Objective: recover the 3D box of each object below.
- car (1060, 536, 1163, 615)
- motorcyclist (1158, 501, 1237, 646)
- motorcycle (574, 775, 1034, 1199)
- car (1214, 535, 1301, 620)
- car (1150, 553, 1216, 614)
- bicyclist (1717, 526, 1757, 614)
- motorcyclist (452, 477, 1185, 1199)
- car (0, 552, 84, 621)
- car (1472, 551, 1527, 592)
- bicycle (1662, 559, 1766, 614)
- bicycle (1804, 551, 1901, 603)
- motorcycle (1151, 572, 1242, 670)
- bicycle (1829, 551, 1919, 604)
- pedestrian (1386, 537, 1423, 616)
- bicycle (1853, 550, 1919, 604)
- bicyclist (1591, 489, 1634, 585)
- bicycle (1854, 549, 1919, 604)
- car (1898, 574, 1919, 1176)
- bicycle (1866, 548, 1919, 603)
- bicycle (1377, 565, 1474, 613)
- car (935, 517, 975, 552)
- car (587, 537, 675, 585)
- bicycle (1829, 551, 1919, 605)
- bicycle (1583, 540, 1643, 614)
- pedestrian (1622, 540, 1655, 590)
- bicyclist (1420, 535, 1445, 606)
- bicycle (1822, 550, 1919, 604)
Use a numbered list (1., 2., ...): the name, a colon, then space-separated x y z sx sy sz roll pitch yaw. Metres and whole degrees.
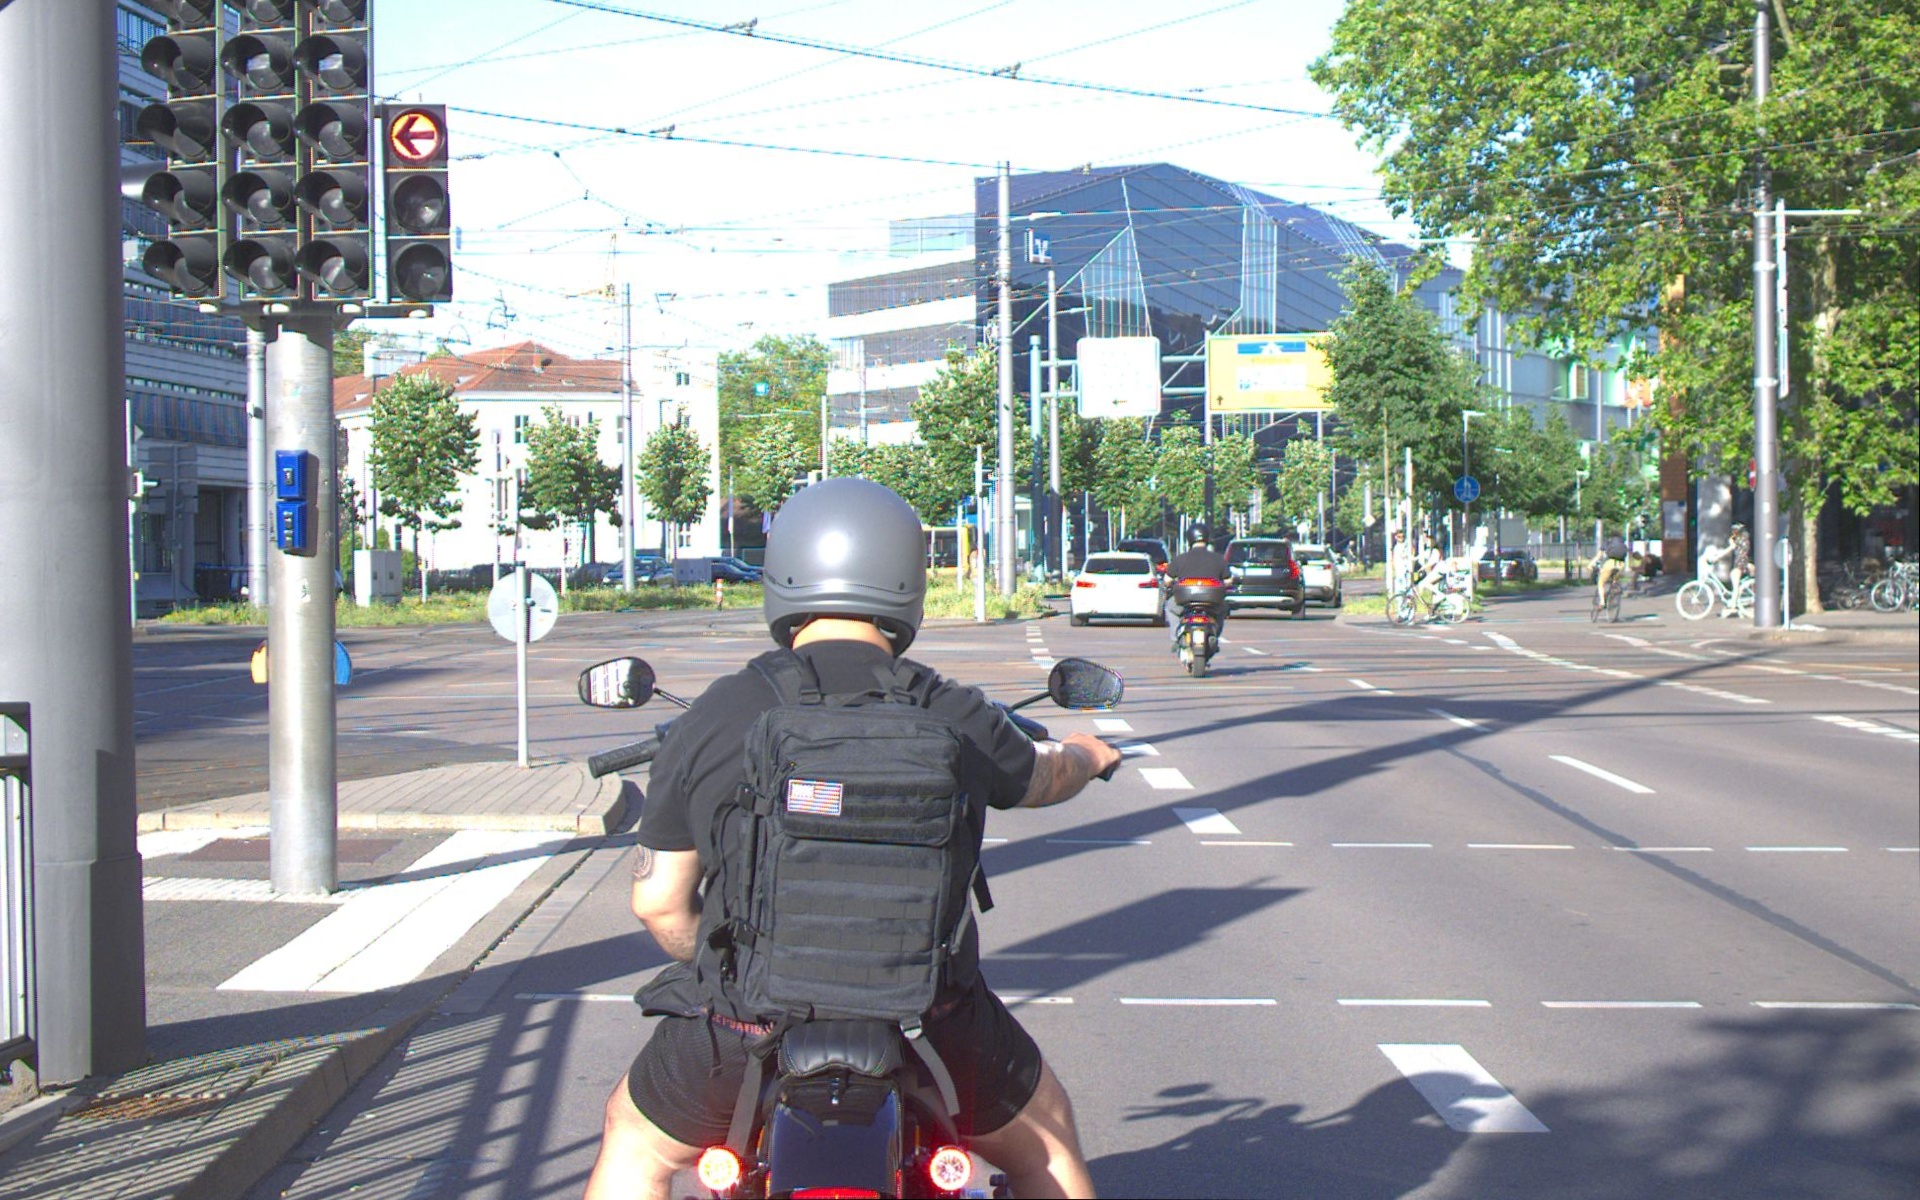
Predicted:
1. car: 2.915 -0.474 66.841 1.731 1.452 4.418 1 0 -1
2. motorcyclist: 2.617 -0.293 37.907 0.796 1.574 0.529 1 0 -1
3. motorcycle: -0.223 0.888 5.647 0.600 1.032 2.234 1 1 -1
4. car: 6.396 -0.517 74.355 1.732 1.726 4.611 1 2 4
5. car: 6.332 -0.462 97.791 1.803 1.672 4.040 1 0 4
6. bicyclist: 14.733 -0.569 65.187 0.688 1.667 0.540 0 0 19
7. motorcyclist: -0.203 0.615 5.302 1.030 1.588 0.873 0 1 -1
8. car: -20.808 -0.313 74.647 1.826 1.425 4.528 0 1 9
9. car: 22.755 -1.201 144.939 1.804 1.672 4.038 1 0 16
10. bicycle: 14.324 -0.254 65.328 1.872 1.040 0.536 0 0 19
11. bicycle: 18.333 -0.477 70.655 1.880 1.043 0.360 1 1 -1
12. motorcycle: 2.601 0.221 38.040 0.804 1.047 2.376 1 0 0
13. bicycle: 18.447 -0.452 69.005 1.880 1.043 0.360 1 1 -1
14. pedestrian: 8.862 -0.463 68.566 0.587 1.551 0.489 1 0 -8
15. bicycle: 18.483 -0.442 67.330 1.880 1.043 0.360 1 0 -1
16. bicyclist: 12.364 -1.196 65.153 0.697 1.802 0.728 1 0 4
17. bicycle: 18.291 -0.453 66.513 1.880 1.043 0.360 1 0 -1
18. car: 3.181 0.686 6.102 1.803 1.425 4.453 0 1 0
19. bicycle: 18.321 -0.461 65.731 1.880 1.043 0.360 1 0 -1
20. bicycle: 9.087 -0.215 67.078 1.825 0.922 0.358 1 0 -8
21. car: -0.279 -3.878 205.048 1.994 2.007 4.299 1 0 5
22. car: -11.018 -1.298 115.399 1.750 1.519 3.997 1 0 13
23. bicycle: 18.313 -0.439 68.517 1.880 1.043 0.360 1 0 -1
24. bicycle: 12.373 -0.423 65.192 0.726 1.362 2.917 1 0 3
25. pedestrian: 17.892 -0.919 90.688 0.819 1.309 0.637 1 0 9
26. bicyclist: 9.222 -0.572 67.092 0.380 1.368 0.345 1 0 -9
27. bicycle: 18.432 -0.461 69.505 1.880 1.043 0.360 1 1 -1
